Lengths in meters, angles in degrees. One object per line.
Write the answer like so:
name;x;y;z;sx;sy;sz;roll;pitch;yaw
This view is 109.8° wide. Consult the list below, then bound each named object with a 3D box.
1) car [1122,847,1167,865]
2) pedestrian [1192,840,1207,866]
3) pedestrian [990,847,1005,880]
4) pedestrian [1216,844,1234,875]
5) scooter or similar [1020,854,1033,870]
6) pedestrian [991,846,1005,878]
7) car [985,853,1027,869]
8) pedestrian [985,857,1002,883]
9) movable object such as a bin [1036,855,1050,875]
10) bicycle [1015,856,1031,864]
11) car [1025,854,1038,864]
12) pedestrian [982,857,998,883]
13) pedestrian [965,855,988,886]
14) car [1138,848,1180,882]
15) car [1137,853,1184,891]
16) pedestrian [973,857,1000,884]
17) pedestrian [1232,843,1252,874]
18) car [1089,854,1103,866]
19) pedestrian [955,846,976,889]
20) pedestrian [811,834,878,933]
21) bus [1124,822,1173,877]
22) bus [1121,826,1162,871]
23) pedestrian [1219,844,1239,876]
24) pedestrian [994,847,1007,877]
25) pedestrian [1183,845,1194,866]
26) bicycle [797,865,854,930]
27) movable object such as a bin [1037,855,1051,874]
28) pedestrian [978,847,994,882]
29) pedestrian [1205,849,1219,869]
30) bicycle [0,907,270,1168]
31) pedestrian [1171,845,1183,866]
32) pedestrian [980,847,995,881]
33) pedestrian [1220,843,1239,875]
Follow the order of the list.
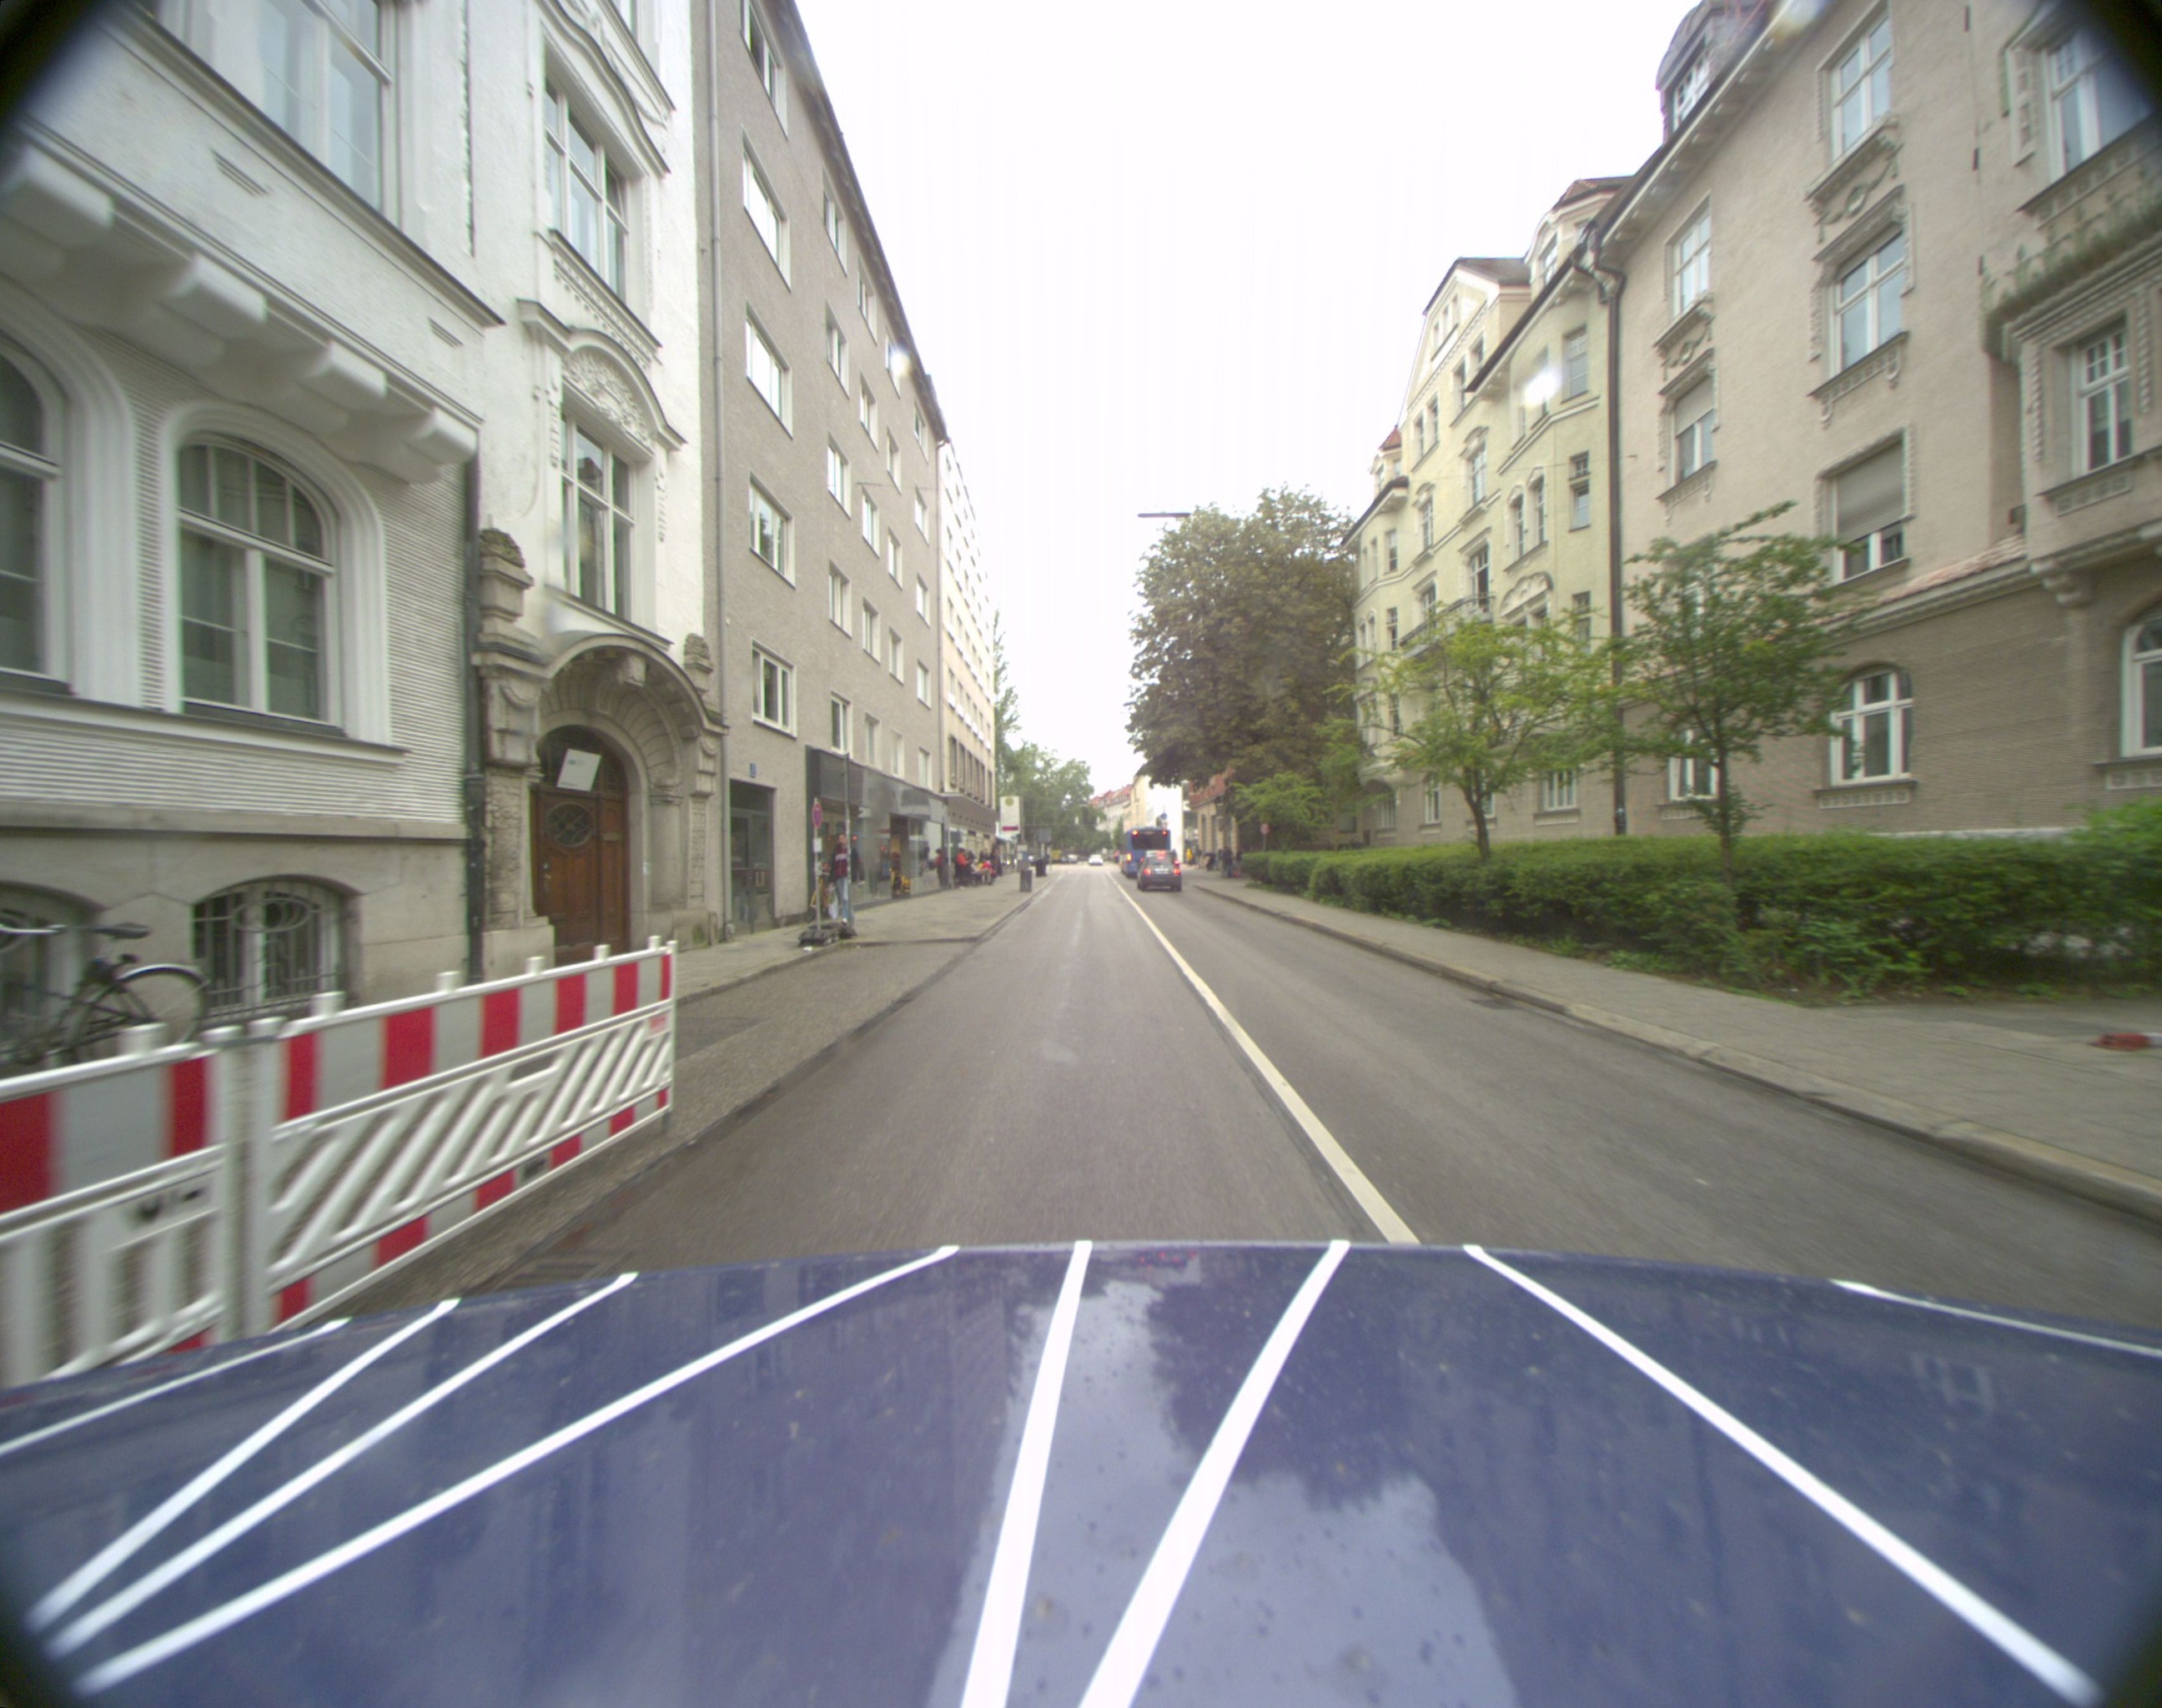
car;6.490;0.216;77.886;4.460;1.738;1.871;-1;1;0
pedestrian;9.238;-0.051;59.216;0.832;2.002;0.778;-2;1;-42
pedestrian;-4.482;0.513;40.734;0.659;1.723;0.696;-1;1;2
pedestrian;8.113;0.290;42.809;0.875;1.735;0.910;-1;1;1
scooter or similar;-4.327;0.652;60.366;0.563;1.234;1.445;-1;1;11
pedestrian;-4.784;0.444;43.822;0.659;1.812;0.696;-1;1;2
car;-7.957;0.721;80.859;4.276;1.510;1.999;-1;1;-3
pedestrian;-4.173;0.778;36.350;0.709;1.230;0.585;-1;1;2
movable object such as a bin;-2.487;0.725;49.959;0.877;1.243;0.798;-1;1;-4
bicycle;-8.111;0.797;105.909;2.124;1.110;0.738;-1;1;-9
car;-7.822;0.749;119.798;1.718;1.543;3.999;-1;0;0
pedestrian;-4.417;0.765;36.859;0.681;1.230;0.496;-1;1;2
pedestrian;-4.627;0.734;33.621;0.862;1.344;0.862;-1;1;2
car;3.911;0.515;38.611;1.772;1.635;4.273;-1;0;1
car;3.247;0.709;31.553;1.588;1.471;3.782;-1;0;1
pedestrian;-4.389;0.765;35.313;1.099;1.230;0.668;-1;1;2
pedestrian;9.100;0.226;42.920;0.784;1.735;0.877;0;1;33
car;2.166;0.827;109.084;1.927;1.608;4.000;-1;1;1
pedestrian;-4.696;0.558;30.940;0.704;1.723;0.746;-1;1;2
pedestrian;-4.740;0.575;15.310;0.929;1.899;1.179;1;1;1
bus;4.101;-0.281;47.975;2.586;3.083;8.923;-1;0;2
bus;4.408;-0.401;56.916;2.586;3.083;9.108;-1;0;2
pedestrian;7.986;0.320;41.062;0.910;1.735;0.847;-1;1;1
pedestrian;-4.729;0.460;44.590;0.659;1.773;0.771;-1;1;2
pedestrian;10.419;0.119;73.398;0.952;2.002;1.397;-1;1;11
bicycle;-5.412;0.890;16.210;0.513;1.253;1.820;3;1;1
movable object such as a bin;-2.477;0.728;50.803;0.877;1.243;0.798;-1;1;-4
pedestrian;-4.672;0.520;37.432;0.659;1.723;0.684;-1;1;2
pedestrian;8.863;0.356;51.477;0.830;1.333;0.754;-1;1;-1
bicycle;-5.813;0.981;4.179;0.662;1.199;1.921;3;1;-2
pedestrian;9.245;0.168;73.147;0.952;2.002;1.397;-1;1;11
pedestrian;-4.771;0.523;38.829;0.659;1.723;0.778;-1;1;2
pedestrian;8.169;0.292;41.918;0.875;1.735;0.786;-1;1;1
